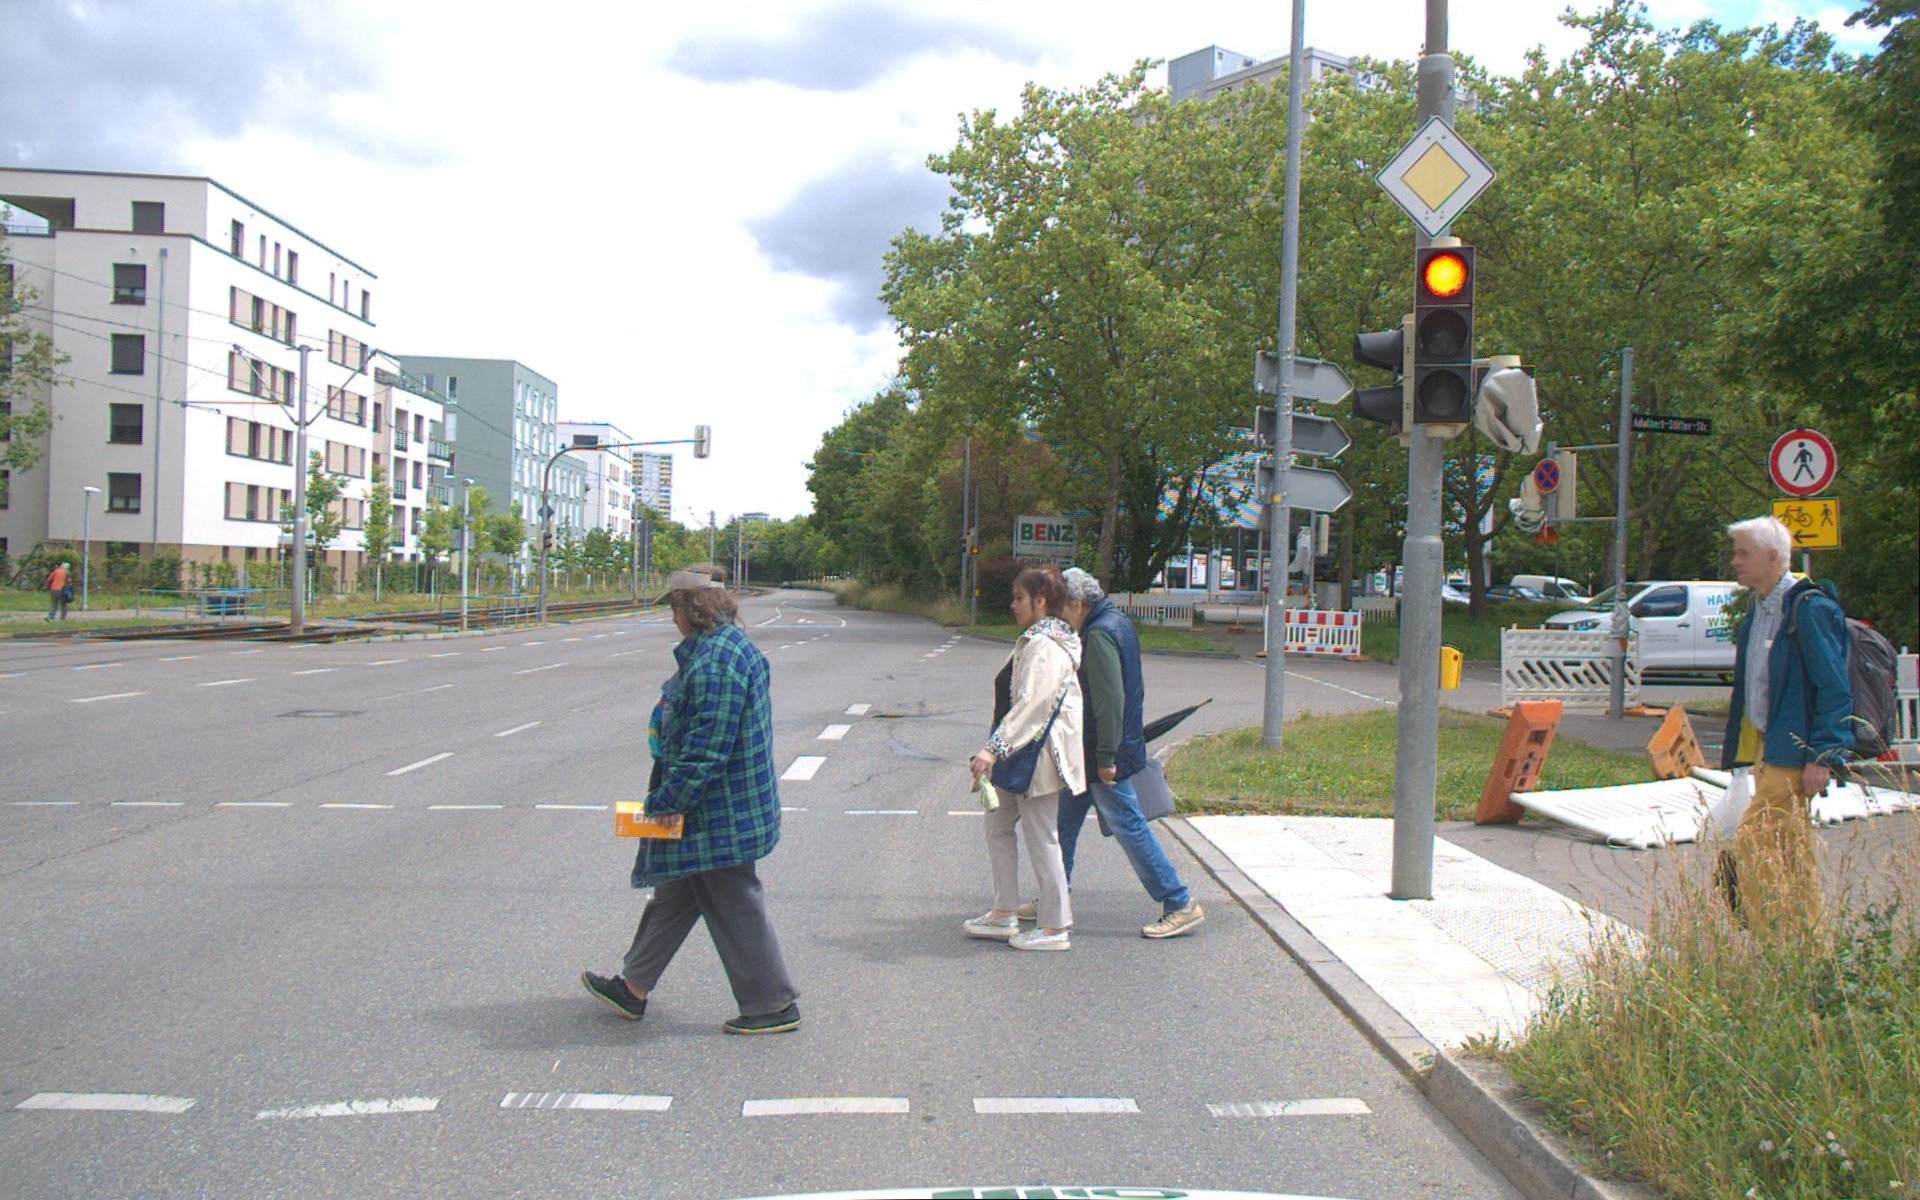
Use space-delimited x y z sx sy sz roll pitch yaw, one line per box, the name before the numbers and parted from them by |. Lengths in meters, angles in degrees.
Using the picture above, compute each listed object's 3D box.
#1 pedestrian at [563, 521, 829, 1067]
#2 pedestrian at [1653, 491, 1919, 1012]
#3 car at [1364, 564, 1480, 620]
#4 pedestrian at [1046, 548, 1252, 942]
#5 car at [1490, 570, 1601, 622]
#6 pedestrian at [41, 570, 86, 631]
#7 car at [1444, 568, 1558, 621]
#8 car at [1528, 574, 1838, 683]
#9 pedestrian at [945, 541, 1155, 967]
pedestrian | -0.884 0.604 5.572 0.807 1.700 0.732 1 0 -9
pedestrian | 3.210 0.518 6.282 0.988 1.805 0.949 1 0 19
car | 17.521 -0.311 62.838 1.974 2.049 3.957 0 1 -32
pedestrian | 0.832 0.612 7.438 0.850 1.663 0.766 1 0 4
car | 23.932 -0.179 67.708 1.974 2.049 3.957 0 1 -32
pedestrian | -23.161 0.013 42.749 0.814 1.542 0.636 1 0 -1
car | 21.365 -0.231 65.472 1.974 2.049 3.957 0 1 -32
car | 13.429 0.503 30.871 4.976 1.906 1.947 1 0 -5
pedestrian | 0.362 0.602 6.888 0.805 1.668 0.733 1 0 1
